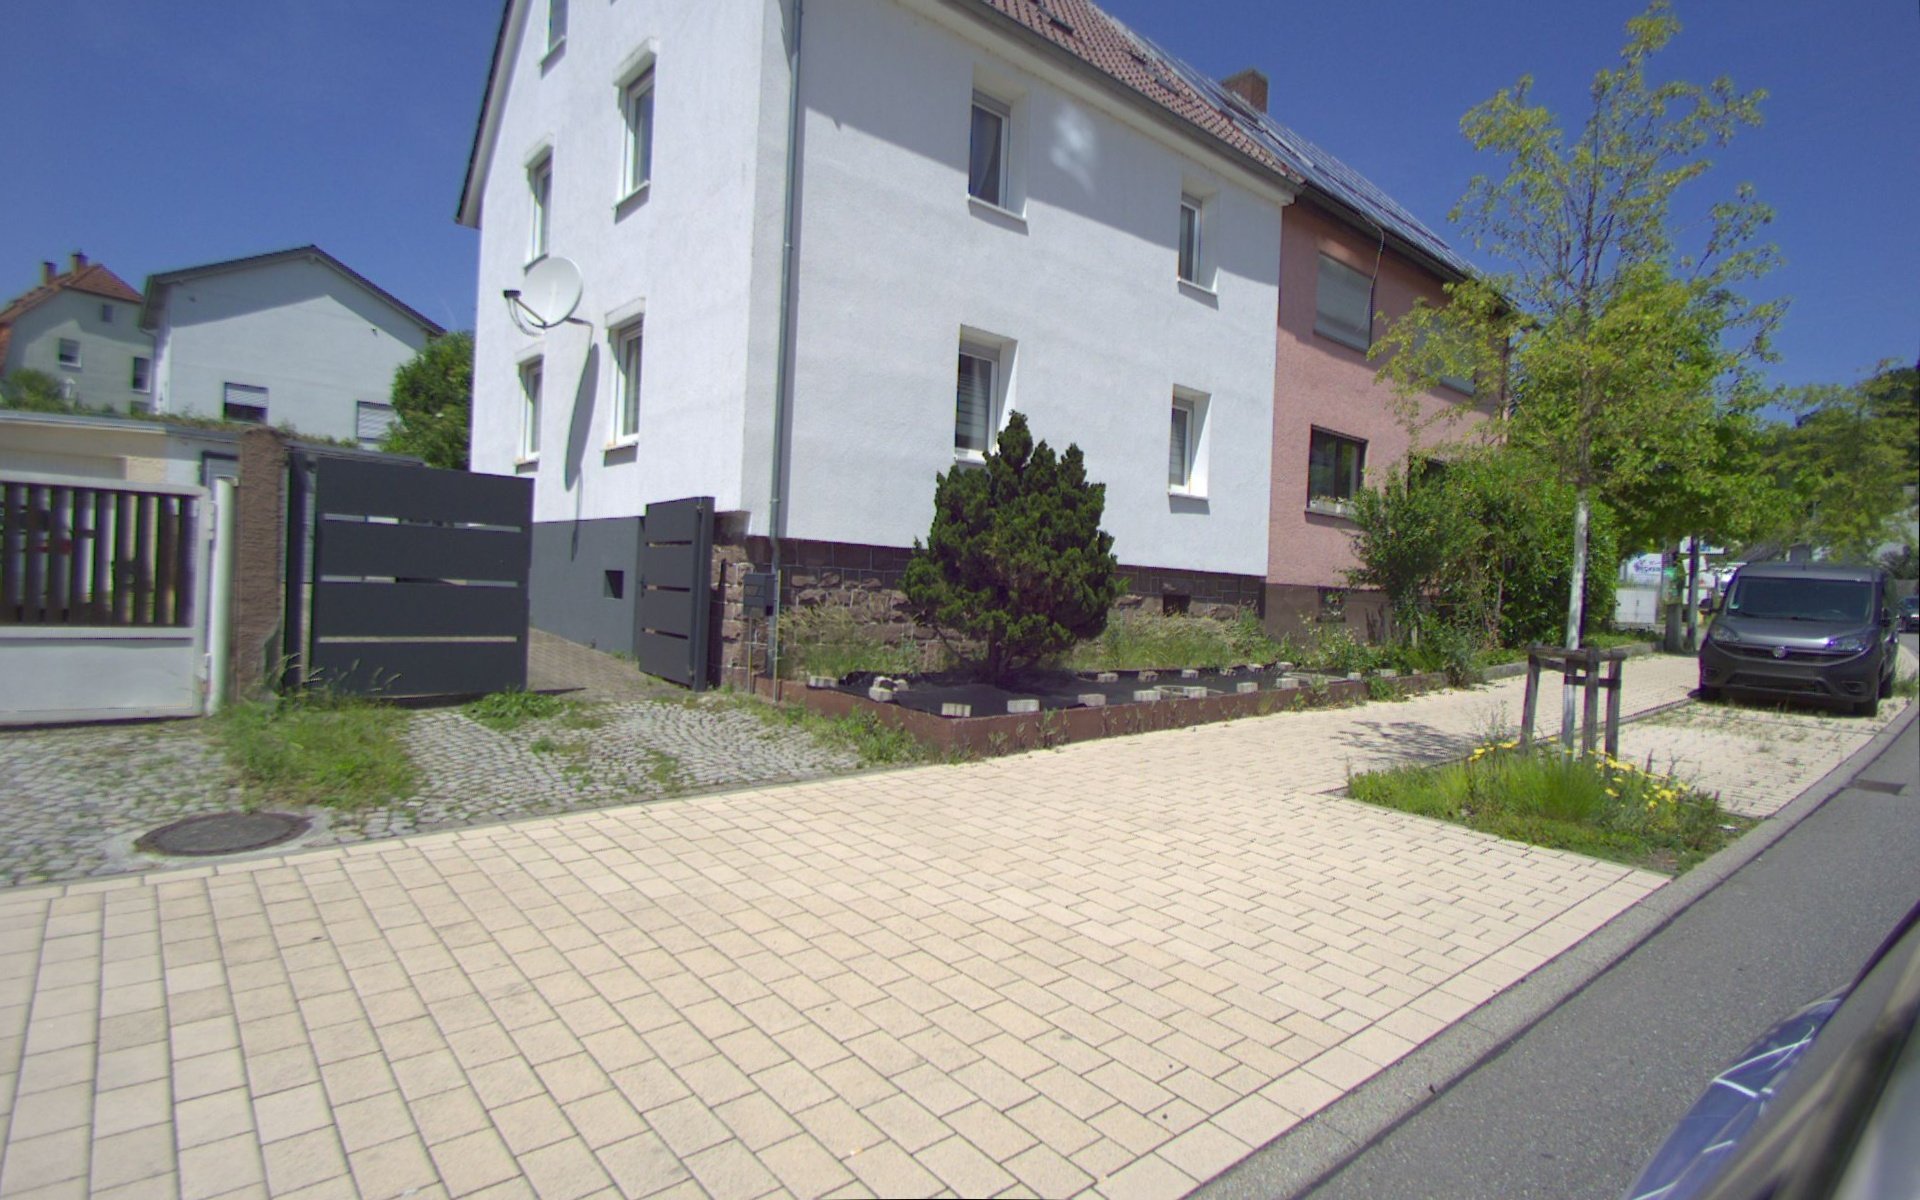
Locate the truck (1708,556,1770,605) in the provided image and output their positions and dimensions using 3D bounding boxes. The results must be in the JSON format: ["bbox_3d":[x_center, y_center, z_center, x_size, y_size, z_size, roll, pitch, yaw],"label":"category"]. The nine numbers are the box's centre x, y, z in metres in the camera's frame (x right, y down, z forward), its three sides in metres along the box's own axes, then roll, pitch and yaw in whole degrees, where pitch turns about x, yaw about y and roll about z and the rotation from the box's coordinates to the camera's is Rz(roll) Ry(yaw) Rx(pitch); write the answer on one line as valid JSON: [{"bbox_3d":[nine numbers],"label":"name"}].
[{"bbox_3d":[58.564,-1.443,76.273,2.786,3.456,8.029,1,1,31],"label":"truck"}]

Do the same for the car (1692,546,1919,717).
[{"bbox_3d":[11.386,0.297,13.436,4.593,1.865,1.857,0,3,-44],"label":"car"}]

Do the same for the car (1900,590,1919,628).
[{"bbox_3d":[36.669,0.324,37.780,1.901,1.366,3.946,2,2,37],"label":"car"}]

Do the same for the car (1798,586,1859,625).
[{"bbox_3d":[34.361,0.191,40.098,1.669,1.393,3.943,3,3,39],"label":"car"}]

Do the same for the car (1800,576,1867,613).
[{"bbox_3d":[47.134,-0.346,54.716,1.954,1.856,4.415,3,2,31],"label":"car"}]
